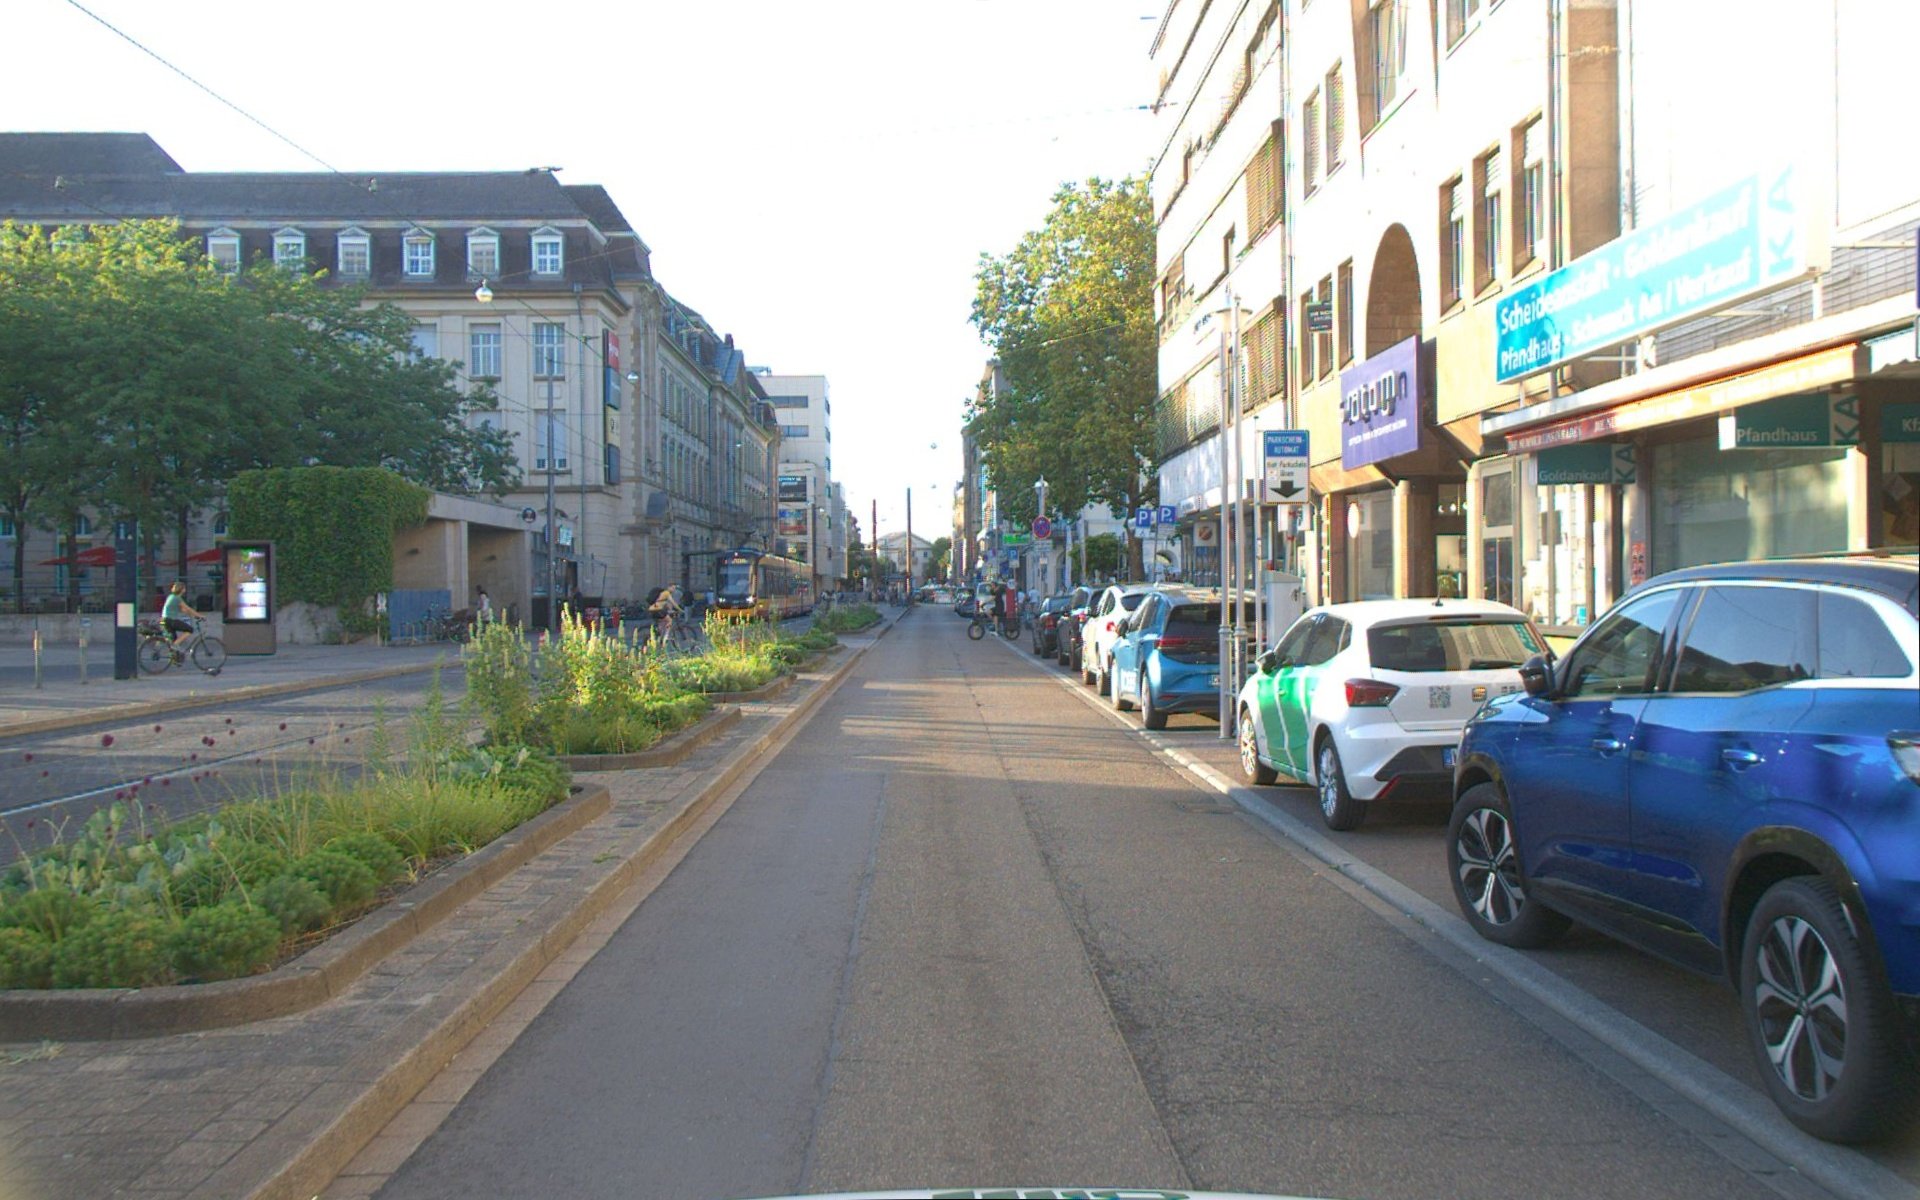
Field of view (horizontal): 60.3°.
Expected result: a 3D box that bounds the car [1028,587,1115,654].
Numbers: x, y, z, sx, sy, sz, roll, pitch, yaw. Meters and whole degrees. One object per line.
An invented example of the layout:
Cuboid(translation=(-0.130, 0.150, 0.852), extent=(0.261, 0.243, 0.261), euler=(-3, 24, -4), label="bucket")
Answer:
Cuboid(translation=(2.629, 0.443, 39.738), extent=(1.622, 1.404, 4.340), euler=(-4, 1, -1), label="car")

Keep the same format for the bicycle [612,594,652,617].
Cuboid(translation=(-17.705, 0.310, 89.285), extent=(2.056, 1.168, 0.574), euler=(-1, -1, -6), label="bicycle")

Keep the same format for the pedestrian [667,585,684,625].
Cuboid(translation=(-13.723, 0.237, 79.762), extent=(0.679, 1.880, 0.661), euler=(-1, -1, -1), label="pedestrian")

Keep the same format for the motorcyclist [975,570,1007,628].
Cuboid(translation=(0.989, -0.035, 53.725), extent=(0.981, 1.845, 0.959), euler=(-1, -1, -1), label="motorcyclist")

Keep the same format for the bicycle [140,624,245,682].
Cuboid(translation=(-15.753, 1.080, 33.985), extent=(1.920, 1.131, 0.453), euler=(0, -2, -42), label="bicycle")

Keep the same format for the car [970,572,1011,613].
Cuboid(translation=(1.548, -0.394, 84.782), extent=(1.876, 2.016, 4.420), euler=(-1, 0, -1), label="car")

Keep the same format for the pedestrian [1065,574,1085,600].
Cuboid(translation=(6.032, -0.670, 86.760), extent=(0.884, 1.329, 0.966), euler=(-1, -1, -2), label="pedestrian")

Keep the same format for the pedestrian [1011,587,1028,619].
Cuboid(translation=(3.382, 0.155, 94.463), extent=(0.772, 1.782, 0.893), euler=(-1, -1, -8), label="pedestrian")

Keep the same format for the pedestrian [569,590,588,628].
Cuboid(translation=(-16.856, 0.389, 73.077), extent=(0.704, 1.674, 0.655), euler=(0, 0, -23), label="pedestrian")

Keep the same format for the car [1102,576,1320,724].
Cuboid(translation=(2.934, 0.524, 20.345), extent=(1.773, 1.579, 4.834), euler=(-1, 0, -2), label="car")

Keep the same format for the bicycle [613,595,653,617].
Cuboid(translation=(-17.781, 0.324, 89.950), extent=(2.037, 1.168, 0.574), euler=(-1, -1, -6), label="bicycle")

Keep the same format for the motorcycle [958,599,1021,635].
Cuboid(translation=(0.956, 0.560, 53.694), extent=(2.002, 1.143, 0.568), euler=(-1, -1, -1), label="motorcycle")

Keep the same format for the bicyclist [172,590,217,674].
Cuboid(translation=(-15.751, 0.651, 34.018), extent=(0.698, 1.698, 0.619), euler=(0, -2, -42), label="bicyclist")

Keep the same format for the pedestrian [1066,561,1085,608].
Cuboid(translation=(4.419, -0.590, 63.190), extent=(0.664, 1.747, 0.654), euler=(-1, -1, 1), label="pedestrian")

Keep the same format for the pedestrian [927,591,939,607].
Cuboid(translation=(-3.218, -0.099, 199.614), extent=(1.210, 1.962, 1.017), euler=(0, 0, -17), label="pedestrian")

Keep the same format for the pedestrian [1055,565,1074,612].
Cuboid(translation=(4.193, -0.454, 66.284), extent=(0.699, 1.835, 0.824), euler=(-2, 0, 2), label="pedestrian")

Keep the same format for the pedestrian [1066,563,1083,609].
Cuboid(translation=(4.412, -0.535, 63.860), extent=(0.601, 1.747, 0.662), euler=(-1, -1, 1), label="pedestrian")

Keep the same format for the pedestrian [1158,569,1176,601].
Cuboid(translation=(8.841, -0.631, 70.718), extent=(0.630, 1.307, 0.741), euler=(-1, -1, 15), label="pedestrian")

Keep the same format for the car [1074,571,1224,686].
Cuboid(translation=(2.843, 0.378, 25.854), extent=(1.779, 1.613, 4.723), euler=(-1, 0, 0), label="car")

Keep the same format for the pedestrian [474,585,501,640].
Cuboid(translation=(-17.218, 0.447, 60.243), extent=(0.709, 1.968, 0.793), euler=(-1, -1, 2), label="pedestrian")

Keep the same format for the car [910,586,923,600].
Cuboid(translation=(-6.116, -1.026, 233.679), extent=(1.725, 1.859, 3.569), euler=(-1, -1, -1), label="car")

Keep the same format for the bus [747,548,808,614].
Cuboid(translation=(-10.696, -1.169, 97.578), extent=(2.765, 3.688, 8.288), euler=(-1, 1, -1), label="bus")

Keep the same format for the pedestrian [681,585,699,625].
Cuboid(translation=(-13.004, 0.245, 79.732), extent=(0.718, 1.873, 0.714), euler=(-1, -1, -1), label="pedestrian")

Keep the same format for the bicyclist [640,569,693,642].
Cuboid(translation=(-7.371, 0.138, 41.566), extent=(0.925, 1.807, 0.955), euler=(-1, 0, -45), label="bicyclist")

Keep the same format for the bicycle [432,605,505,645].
Cuboid(translation=(-15.975, 0.814, 53.786), extent=(2.196, 1.253, 0.585), euler=(-1, 0, -2), label="bicycle")

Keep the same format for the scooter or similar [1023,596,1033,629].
Cuboid(translation=(2.630, 0.478, 64.122), extent=(0.308, 1.243, 1.273), euler=(-1, 0, 6), label="scooter or similar")

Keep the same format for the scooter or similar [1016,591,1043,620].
Cuboid(translation=(2.992, 0.232, 71.579), extent=(1.102, 1.237, 0.300), euler=(-2, -1, 0), label="scooter or similar")

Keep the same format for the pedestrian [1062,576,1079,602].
Cuboid(translation=(5.921, -0.599, 88.845), extent=(0.806, 1.329, 0.869), euler=(-1, -1, -2), label="pedestrian")

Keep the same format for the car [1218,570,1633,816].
Cuboid(translation=(3.173, 0.594, 12.178), extent=(1.696, 1.460, 4.150), euler=(-1, -1, -3), label="car")

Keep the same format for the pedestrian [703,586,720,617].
Cuboid(translation=(-14.186, 0.089, 94.374), extent=(0.798, 1.737, 0.761), euler=(-1, -1, -1), label="pedestrian")

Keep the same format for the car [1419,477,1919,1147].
Cuboid(translation=(3.145, 0.488, 5.851), extent=(1.729, 1.633, 4.286), euler=(-1, 1, -2), label="car")

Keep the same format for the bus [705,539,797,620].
Cuboid(translation=(-10.504, -1.024, 84.911), extent=(2.765, 3.715, 17.069), euler=(-1, 1, -1), label="bus")

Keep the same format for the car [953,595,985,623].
Cuboid(translation=(0.581, 0.578, 109.498), extent=(1.953, 1.791, 4.420), euler=(-1, 0, -1), label="car")

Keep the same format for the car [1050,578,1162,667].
Cuboid(translation=(2.884, 0.391, 33.521), extent=(1.740, 1.565, 4.577), euler=(-1, 2, -2), label="car")

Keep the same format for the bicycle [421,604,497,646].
Cuboid(translation=(-15.849, 0.782, 52.334), extent=(2.196, 1.277, 0.579), euler=(-1, -1, -2), label="bicycle")

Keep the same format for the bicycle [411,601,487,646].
Cuboid(translation=(-15.697, 0.726, 50.811), extent=(2.152, 1.323, 0.579), euler=(-1, -1, -2), label="bicycle")

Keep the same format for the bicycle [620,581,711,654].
Cuboid(translation=(-7.379, 0.414, 41.553), extent=(0.593, 1.770, 2.351), euler=(0, 1, 44), label="bicycle")
